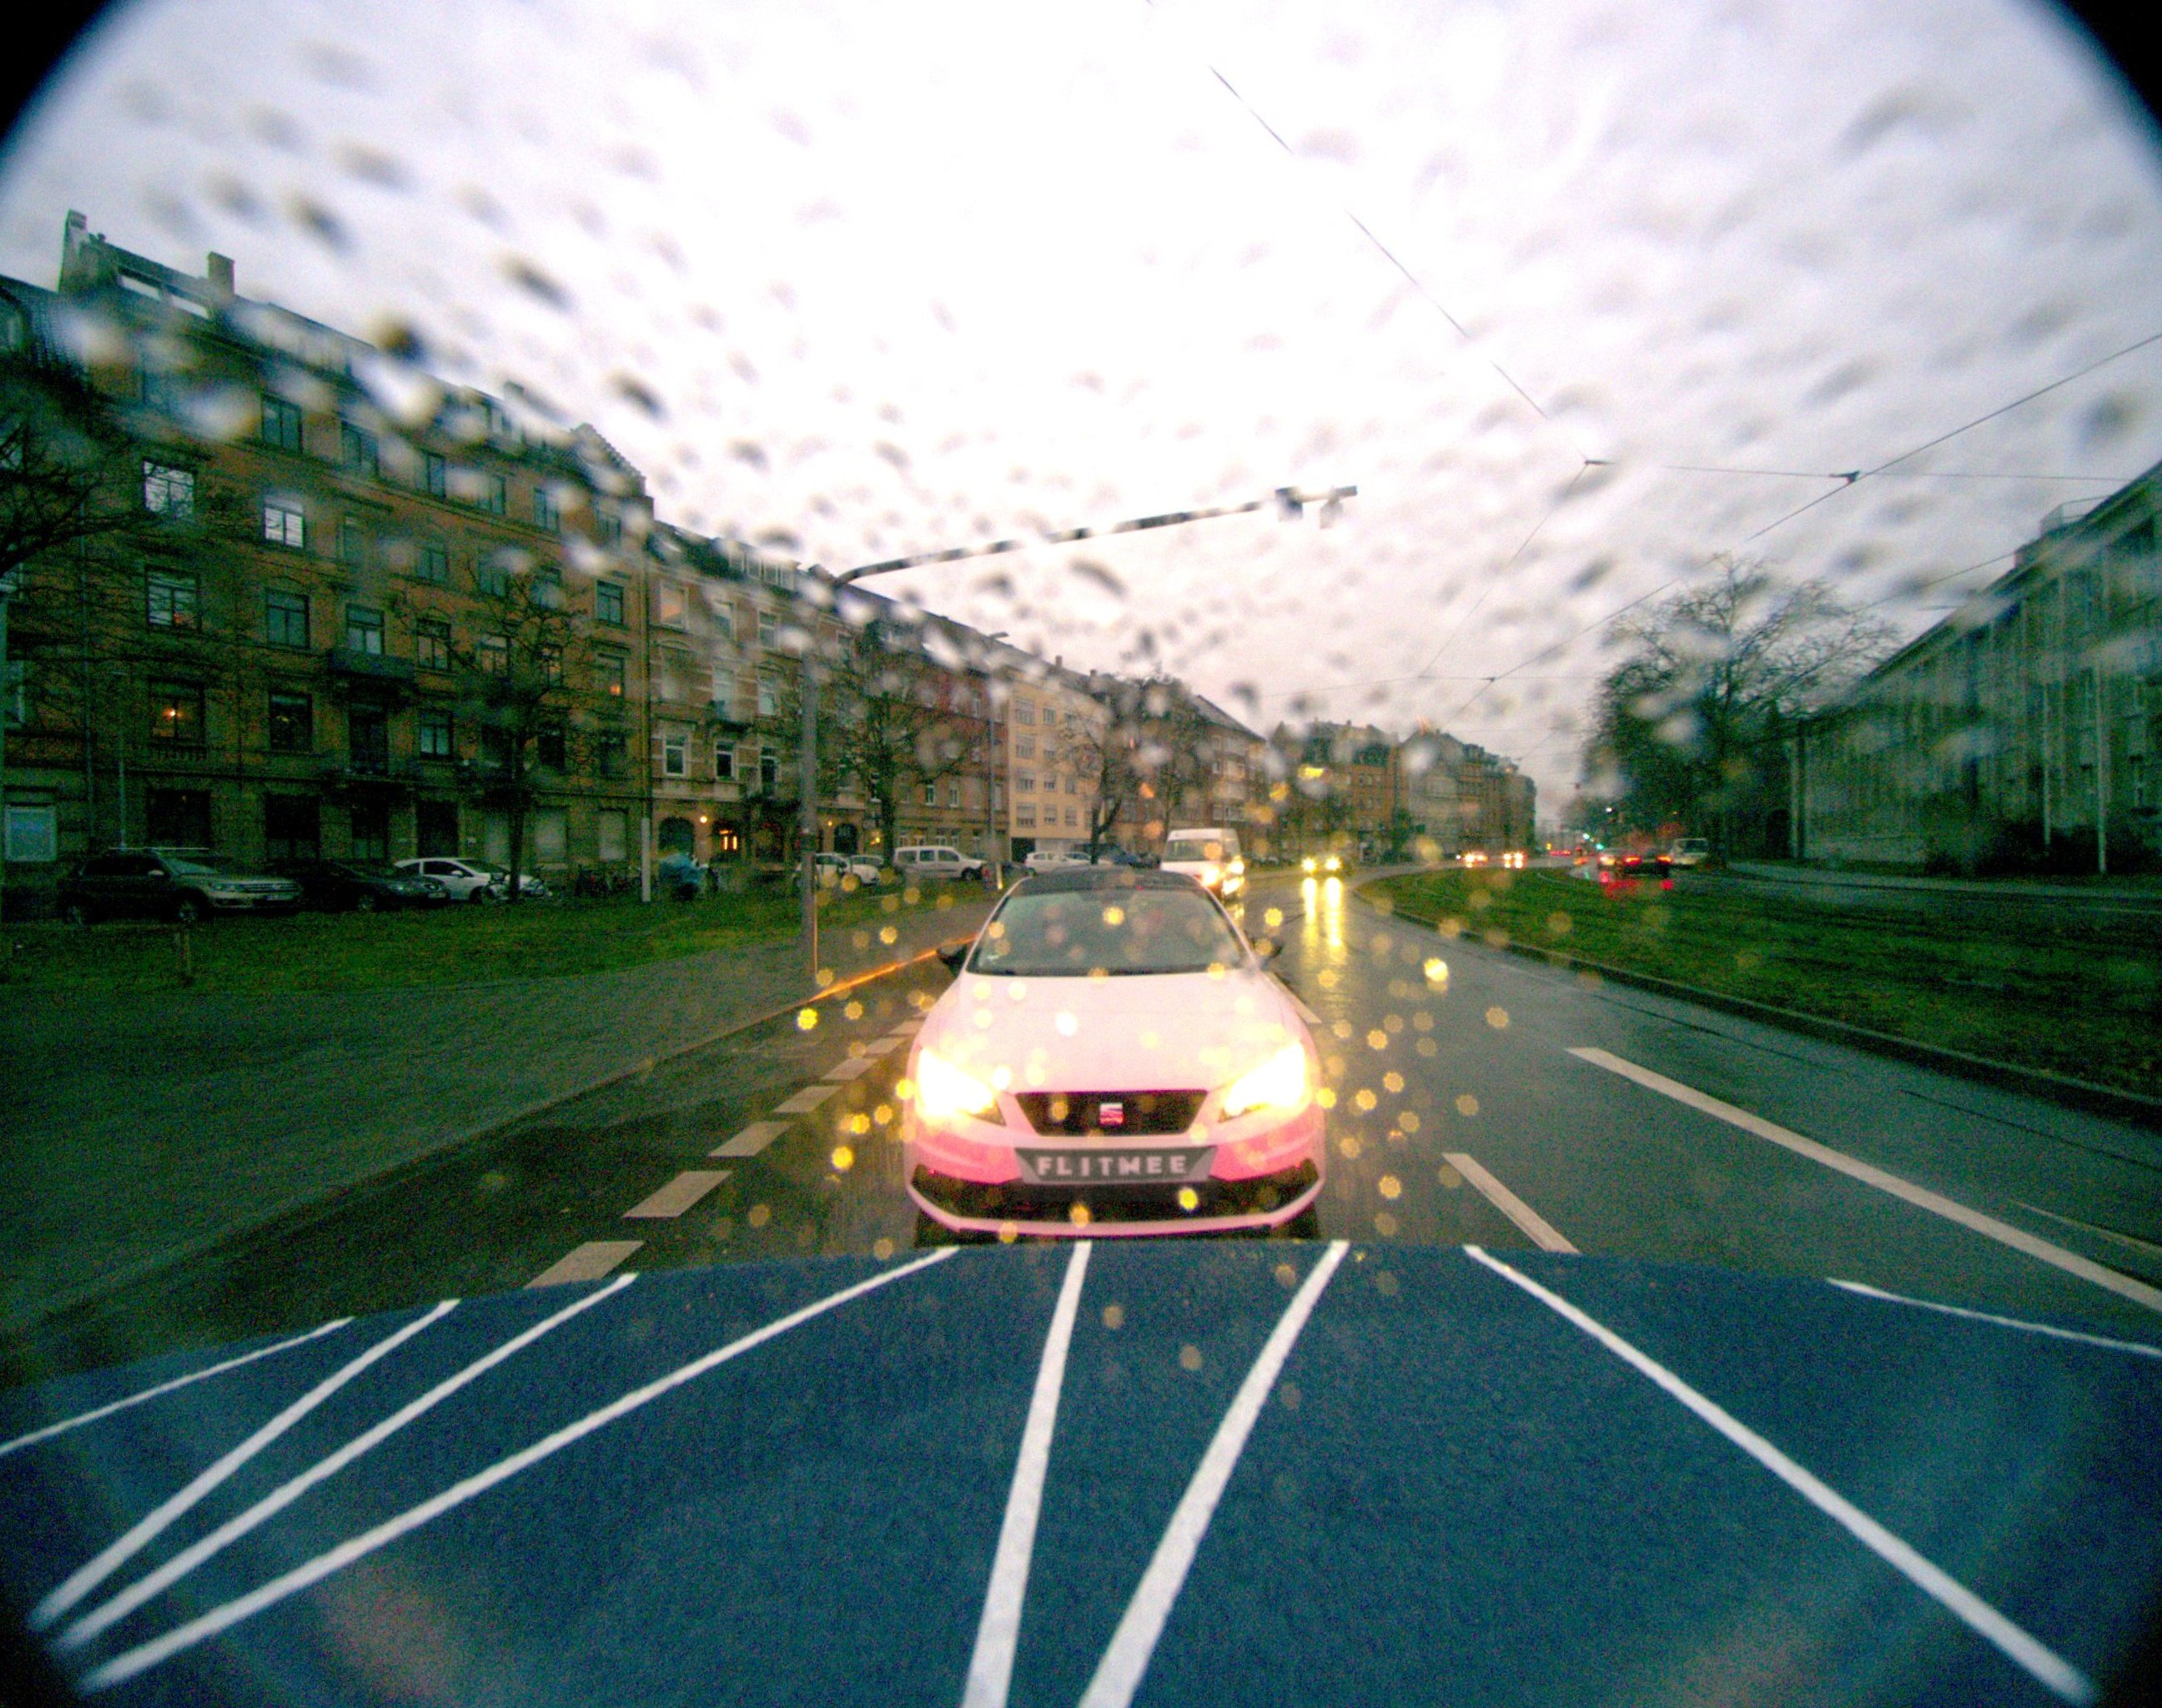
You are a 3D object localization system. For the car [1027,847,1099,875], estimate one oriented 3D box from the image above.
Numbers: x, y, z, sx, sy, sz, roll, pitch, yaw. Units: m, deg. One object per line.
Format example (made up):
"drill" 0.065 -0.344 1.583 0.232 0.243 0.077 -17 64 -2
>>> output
"car" -1.010 0.398 43.704 3.770 1.424 1.762 -3 0 9

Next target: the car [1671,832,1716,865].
"car" 41.916 -0.403 52.061 1.995 2.002 4.518 -3 0 35

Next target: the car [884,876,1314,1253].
"car" 0.166 0.937 4.989 1.714 1.404 3.680 -3 0 3

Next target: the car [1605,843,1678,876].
"car" 27.192 0.236 36.994 1.658 1.392 4.529 -3 0 21

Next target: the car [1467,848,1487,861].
"car" 45.702 0.032 87.669 1.892 1.405 3.954 -1 0 31

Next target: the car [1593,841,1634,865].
"car" 35.408 -0.082 50.626 1.822 1.426 4.663 -3 0 31

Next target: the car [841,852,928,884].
"car" -8.788 0.622 34.193 3.430 1.343 1.664 -2 0 2

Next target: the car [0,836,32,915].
"car" -29.131 0.557 17.924 1.994 2.002 4.997 1 1 33

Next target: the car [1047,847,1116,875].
"car" 0.011 0.428 45.831 3.998 1.406 1.641 -3 0 -2

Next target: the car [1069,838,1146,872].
"car" 1.645 0.082 48.553 4.720 1.971 1.799 -2 0 -2

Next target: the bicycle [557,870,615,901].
"bicycle" -16.175 1.044 24.819 2.165 0.960 0.627 -2 -2 28

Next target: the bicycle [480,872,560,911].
"bicycle" -14.415 0.946 19.571 1.655 0.931 0.513 0 0 -35

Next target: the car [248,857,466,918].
"car" -17.925 0.812 18.948 3.742 1.346 1.677 -2 -1 -2

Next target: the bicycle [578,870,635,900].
"bicycle" -15.897 1.055 25.427 2.165 0.960 0.627 -2 -2 28

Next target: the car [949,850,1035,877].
"car" -4.483 0.489 38.669 4.058 1.227 1.771 1 0 6

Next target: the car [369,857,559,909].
"car" -17.128 0.788 21.223 3.856 1.329 1.698 -1 0 -1

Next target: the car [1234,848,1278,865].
"car" 15.916 0.245 69.228 3.760 1.346 1.603 -3 0 11

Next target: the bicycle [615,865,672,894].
"bicycle" -15.138 0.863 26.276 2.165 0.960 0.627 0 1 28

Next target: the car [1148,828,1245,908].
"car" 4.049 0.410 25.611 2.126 2.366 5.646 -2 0 19

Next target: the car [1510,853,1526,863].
"car" 64.127 0.600 111.492 1.836 1.477 3.528 -1 0 28

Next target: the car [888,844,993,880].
"car" -6.693 0.366 36.537 4.659 1.583 1.778 1 1 3

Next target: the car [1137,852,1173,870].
"car" 6.876 0.621 70.501 1.470 1.534 3.880 0 1 38

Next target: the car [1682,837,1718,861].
"car" 39.345 -0.312 48.338 1.557 1.420 2.960 -1 1 36

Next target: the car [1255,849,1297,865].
"car" 18.518 0.308 72.224 3.760 1.346 1.603 -3 0 11

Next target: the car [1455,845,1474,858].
"car" 48.759 -0.325 96.608 1.719 1.608 3.946 -1 0 32

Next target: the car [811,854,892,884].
"car" -12.622 0.813 41.993 1.733 1.492 4.058 -3 -1 32

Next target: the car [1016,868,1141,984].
"car" 0.072 0.956 11.316 1.589 1.418 3.135 -1 0 4

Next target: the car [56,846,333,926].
"car" -19.458 0.661 16.815 3.996 1.627 1.944 0 1 4

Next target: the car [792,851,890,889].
"car" -9.965 0.654 31.671 3.462 1.435 1.615 -2 0 6
